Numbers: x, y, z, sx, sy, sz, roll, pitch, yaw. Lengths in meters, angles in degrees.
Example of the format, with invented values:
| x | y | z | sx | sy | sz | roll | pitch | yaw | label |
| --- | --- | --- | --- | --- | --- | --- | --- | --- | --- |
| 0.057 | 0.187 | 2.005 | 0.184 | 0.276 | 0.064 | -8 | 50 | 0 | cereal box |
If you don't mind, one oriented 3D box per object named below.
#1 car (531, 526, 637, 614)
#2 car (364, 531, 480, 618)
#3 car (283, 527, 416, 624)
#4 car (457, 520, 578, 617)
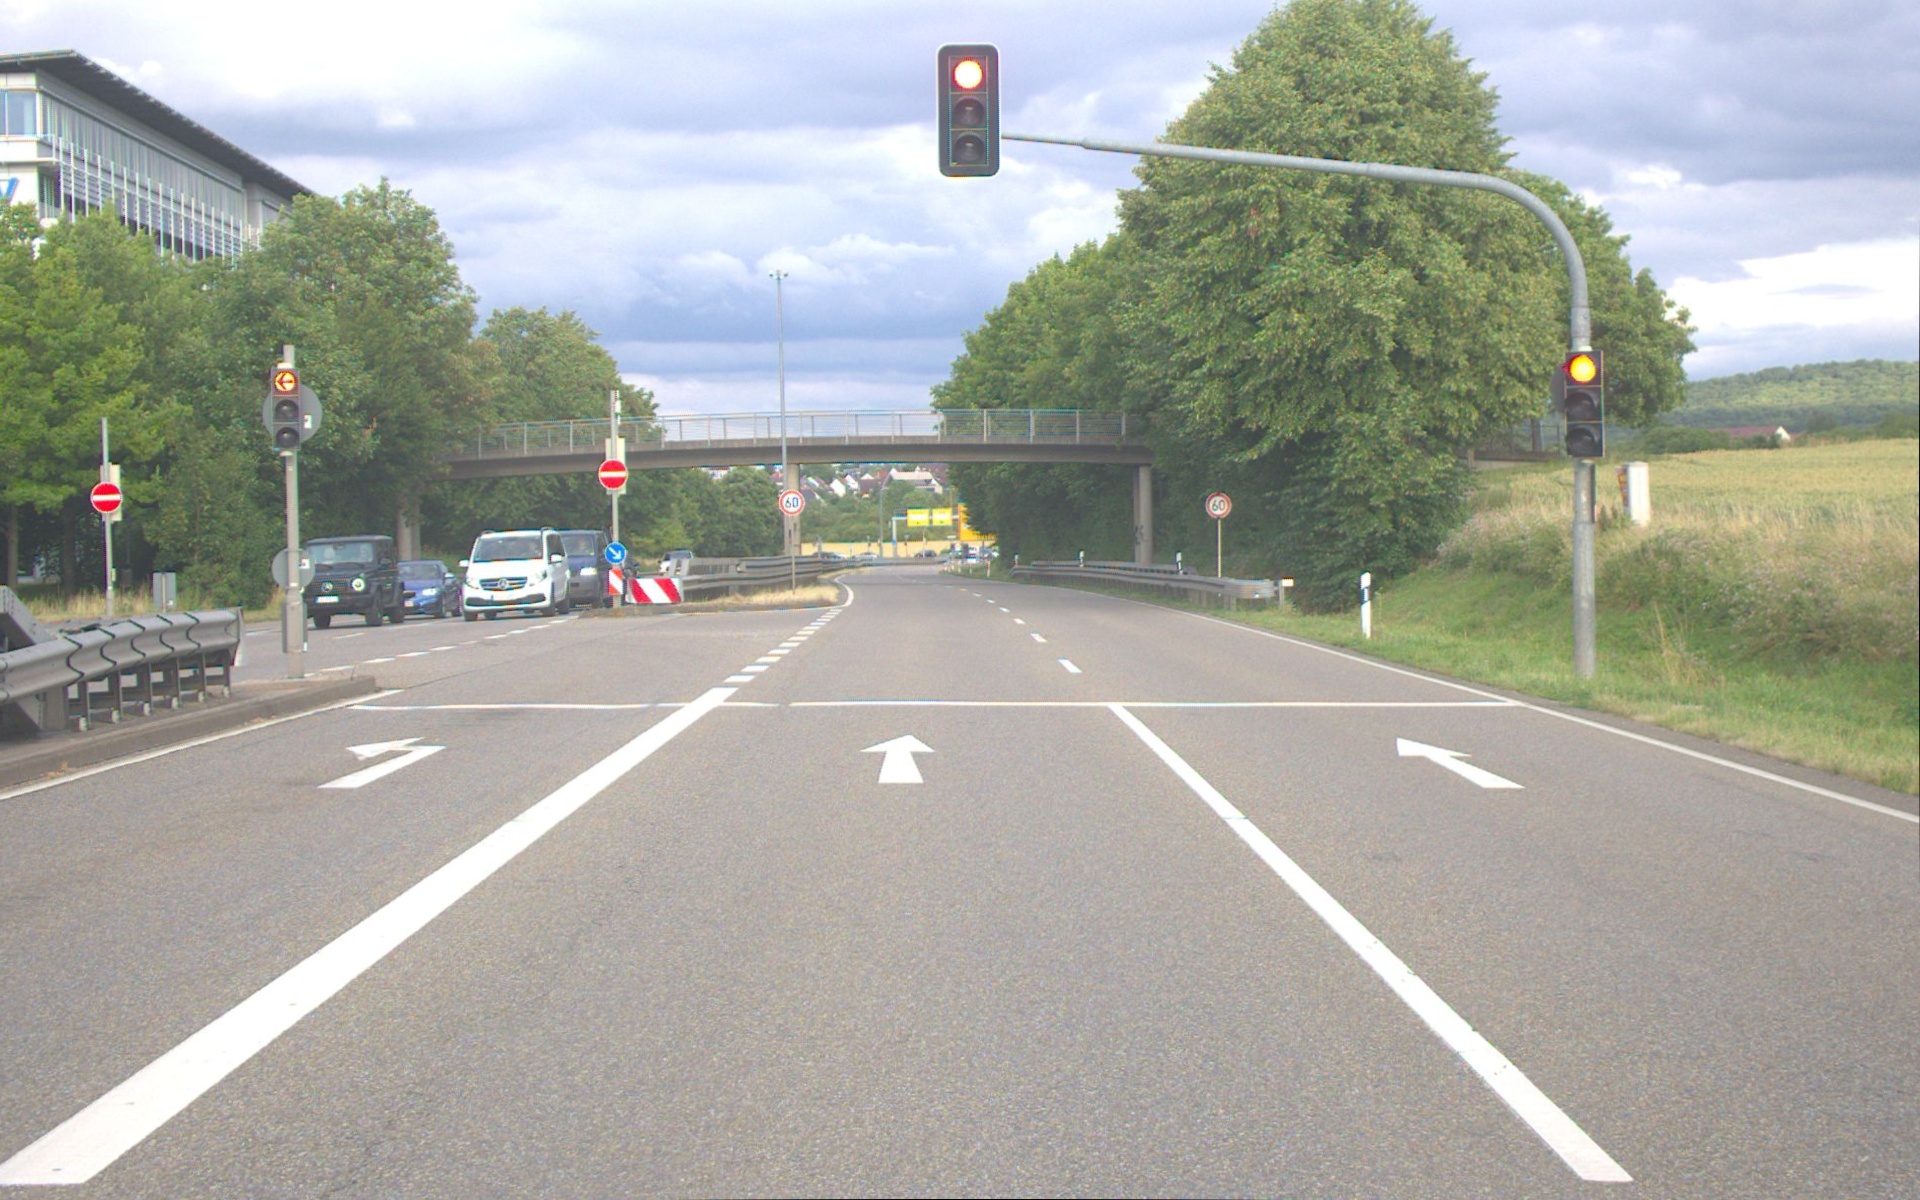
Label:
| x | y | z | sx | sy | sz | roll | pitch | yaw | label |
| --- | --- | --- | --- | --- | --- | --- | --- | --- | --- |
| -9.004 | -0.733 | 82.697 | 2.083 | 2.007 | 5.217 | 1 | 1 | -2 | car |
| -12.849 | -0.619 | 82.364 | 2.083 | 2.007 | 5.217 | 1 | 1 | -2 | car |
| -13.240 | -0.543 | 74.864 | 2.083 | 2.007 | 5.217 | 1 | 1 | -2 | car |
| -9.606 | -0.700 | 74.962 | 2.083 | 2.007 | 5.217 | 1 | 1 | -2 | car |
